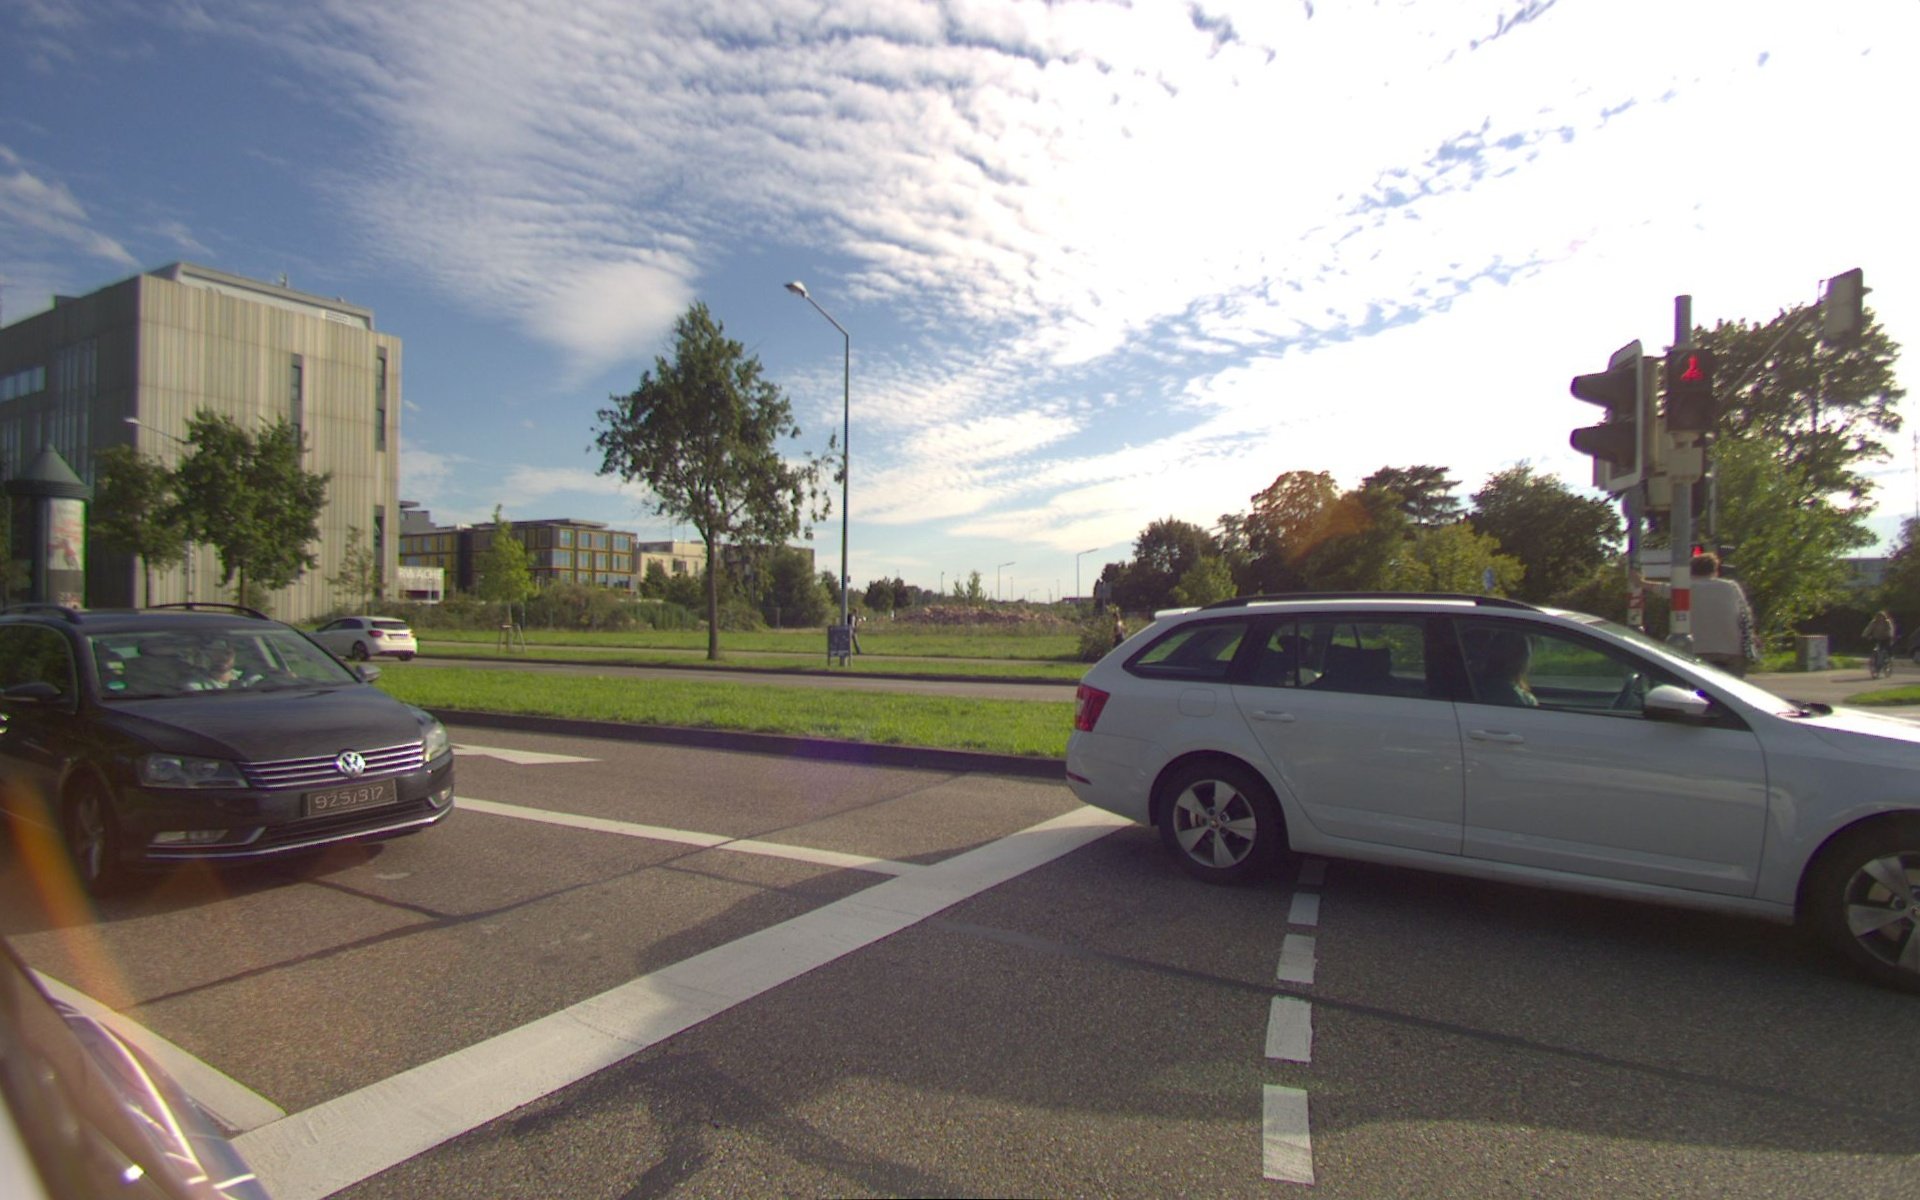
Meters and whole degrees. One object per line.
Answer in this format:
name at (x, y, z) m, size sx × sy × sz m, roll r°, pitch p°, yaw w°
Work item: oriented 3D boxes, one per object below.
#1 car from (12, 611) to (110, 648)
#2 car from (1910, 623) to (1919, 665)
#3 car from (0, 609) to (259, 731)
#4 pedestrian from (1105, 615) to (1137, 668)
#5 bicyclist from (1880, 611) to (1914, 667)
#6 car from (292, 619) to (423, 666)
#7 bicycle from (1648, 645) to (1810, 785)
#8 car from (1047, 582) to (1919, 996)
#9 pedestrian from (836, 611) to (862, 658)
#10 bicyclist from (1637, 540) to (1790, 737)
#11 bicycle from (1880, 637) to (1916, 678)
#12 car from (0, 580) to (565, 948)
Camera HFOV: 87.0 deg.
car at (-36.624, 1.204, 41.227) m, size 3.569 × 1.445 × 1.672 m, roll 0°, pitch -2°, yaw 25°
car at (35.901, 1.538, 35.093) m, size 1.657 × 1.513 × 4.005 m, roll 1°, pitch -3°, yaw -15°
car at (-11.616, 0.876, 14.040) m, size 3.645 × 1.475 × 1.749 m, roll -1°, pitch 0°, yaw 30°
pedestrian at (4.806, 1.217, 30.177) m, size 0.753 × 1.519 × 0.623 m, roll 0°, pitch 1°, yaw 28°
bicyclist at (24.682, 1.026, 26.678) m, size 0.611 × 1.456 × 0.688 m, roll -1°, pitch -2°, yaw 42°
car at (-19.657, 1.356, 33.001) m, size 3.969 × 1.445 × 1.672 m, roll 0°, pitch -2°, yaw 24°
bicycle at (6.620, 0.925, 8.826) m, size 0.999 × 1.015 × 1.938 m, roll -1°, pitch -2°, yaw 34°
car at (2.892, 0.673, 5.018) m, size 4.627 × 1.456 × 1.835 m, roll -1°, pitch 0°, yaw 35°
pedestrian at (-3.969, 1.222, 36.236) m, size 0.656 × 1.642 × 0.622 m, roll -1°, pitch 0°, yaw 32°
bicyclist at (6.436, 0.317, 8.708) m, size 0.995 × 1.567 × 0.855 m, roll -1°, pitch -2°, yaw 35°
bicycle at (24.597, 1.492, 26.552) m, size 0.611 × 0.996 × 1.812 m, roll -1°, pitch -2°, yaw 41°
car at (-4.933, 0.707, 6.502) m, size 4.828 × 1.578 × 1.978 m, roll 0°, pitch 1°, yaw 32°
